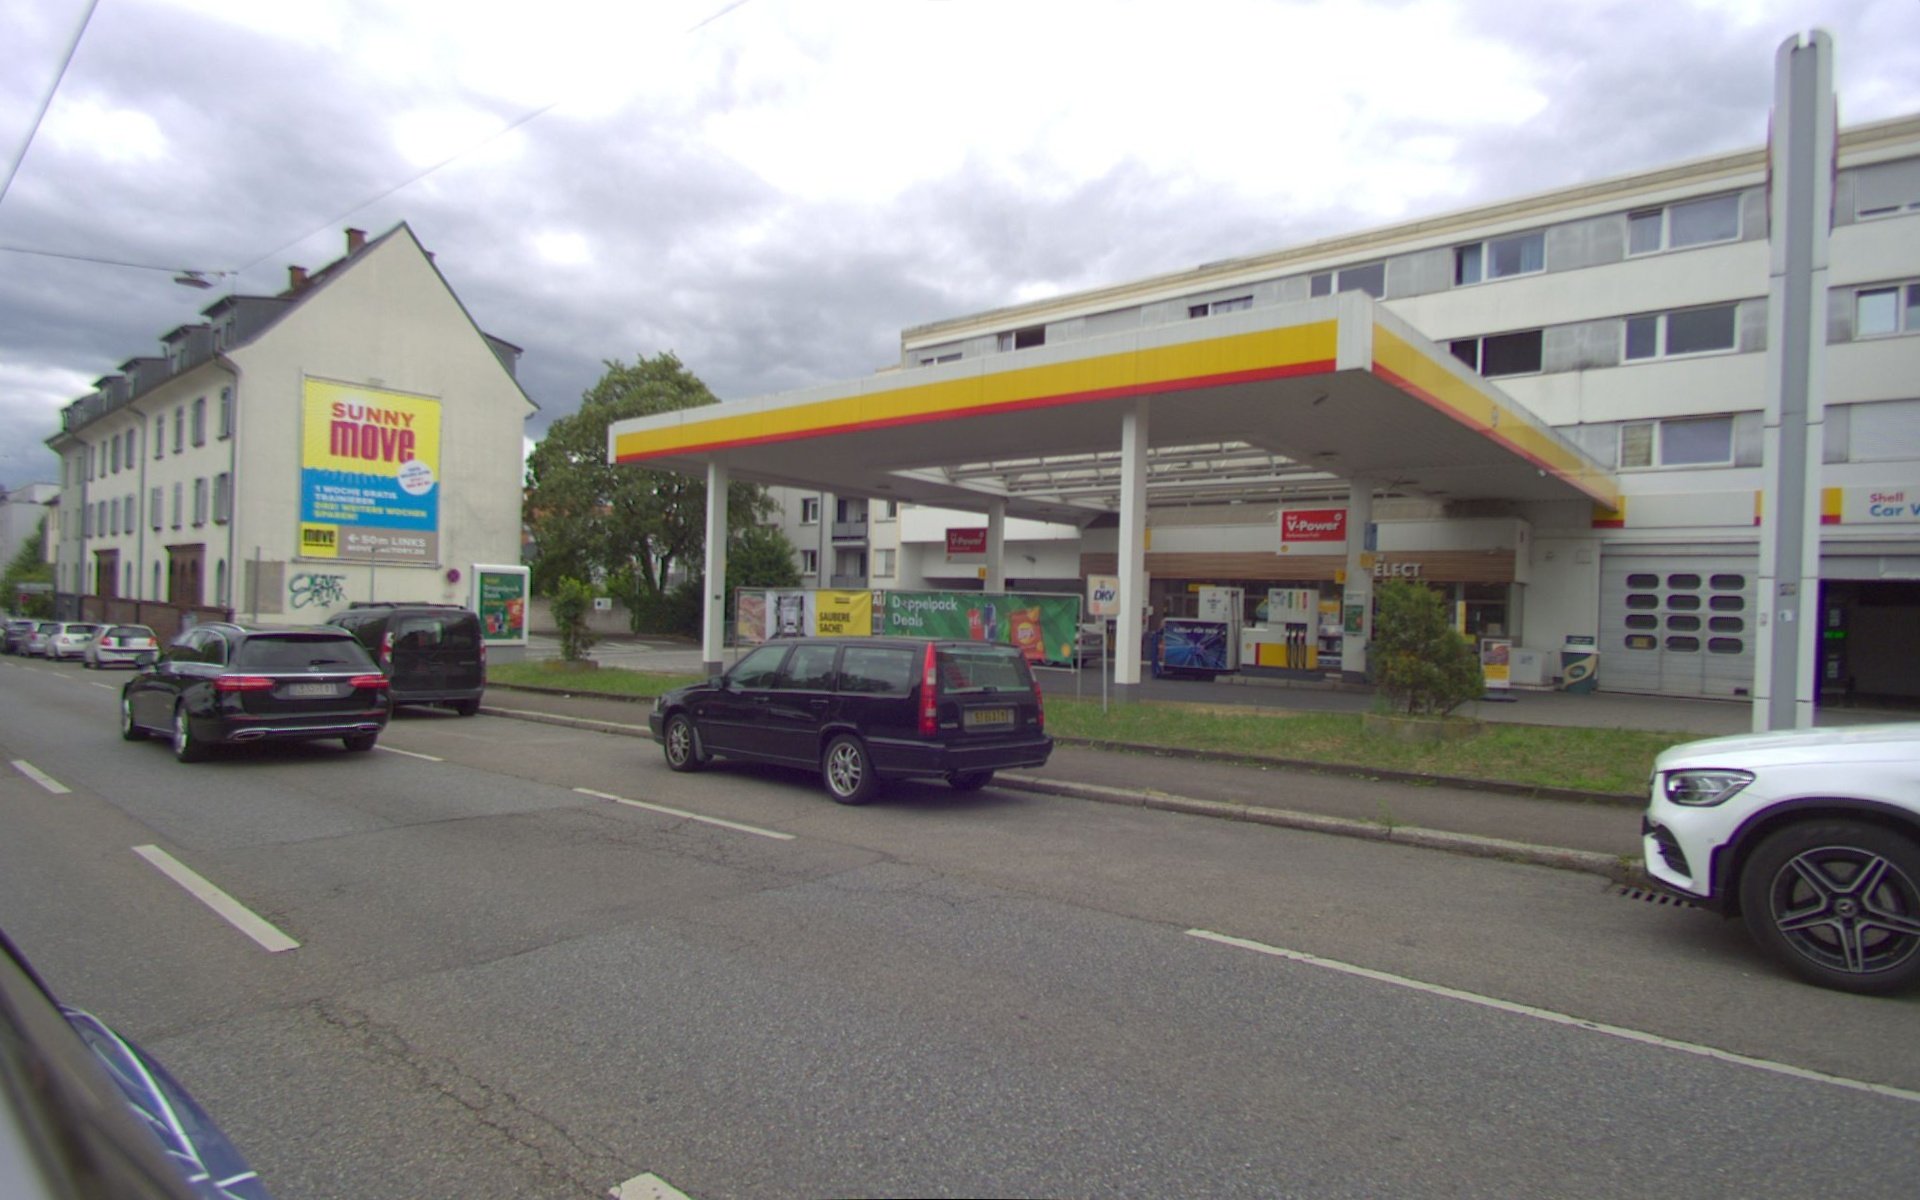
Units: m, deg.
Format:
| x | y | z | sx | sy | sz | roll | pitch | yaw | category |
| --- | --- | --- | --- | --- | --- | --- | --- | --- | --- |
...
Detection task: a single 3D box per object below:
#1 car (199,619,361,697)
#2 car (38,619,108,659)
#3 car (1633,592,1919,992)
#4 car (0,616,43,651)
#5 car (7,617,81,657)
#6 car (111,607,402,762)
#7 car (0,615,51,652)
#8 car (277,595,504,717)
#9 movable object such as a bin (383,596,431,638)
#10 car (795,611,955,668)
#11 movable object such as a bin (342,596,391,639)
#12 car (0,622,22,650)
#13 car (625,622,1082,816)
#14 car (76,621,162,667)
| x | y | z | sx | sy | sz | roll | pitch | yaw | category |
| --- | --- | --- | --- | --- | --- | --- | --- | --- | --- |
| -14.379 | 1.170 | 21.324 | 4.216 | 1.461 | 1.772 | -1 | -3 | 41 | car |
| -34.500 | 1.513 | 39.332 | 3.602 | 1.486 | 1.531 | -1 | -3 | 41 | car |
| 5.490 | 0.785 | 3.824 | 4.698 | 1.589 | 1.895 | -1 | -3 | 42 | car |
| -46.532 | 1.649 | 49.526 | 4.640 | 1.634 | 1.826 | -1 | -3 | 40 | car |
| -38.636 | 1.533 | 42.659 | 4.079 | 1.570 | 1.709 | -1 | -4 | 41 | car |
| -8.337 | 0.862 | 11.821 | 4.497 | 1.477 | 1.759 | -1 | -3 | 42 | car |
| -42.605 | 1.512 | 45.843 | 4.502 | 1.611 | 1.708 | -1 | -3 | 43 | car |
| -9.986 | 0.913 | 17.582 | 4.698 | 1.849 | 1.833 | -1 | -3 | 40 | car |
| -21.345 | 0.673 | 39.069 | 1.104 | 1.550 | 1.251 | -1 | -4 | 41 | movable object such as a bin |
| -2.378 | 1.017 | 27.527 | 4.415 | 1.431 | 1.779 | -1 | -1 | 41 | car |
| -22.287 | 0.652 | 38.033 | 1.104 | 1.550 | 1.251 | -1 | -4 | 41 | movable object such as a bin |
| -50.752 | 1.878 | 53.174 | 4.189 | 1.440 | 1.709 | -1 | -3 | 41 | car |
| -1.253 | 0.968 | 9.891 | 4.744 | 1.442 | 1.778 | -1 | -3 | 43 | car |
| -27.654 | 1.421 | 33.242 | 3.664 | 1.436 | 1.602 | -1 | -3 | 42 | car |
